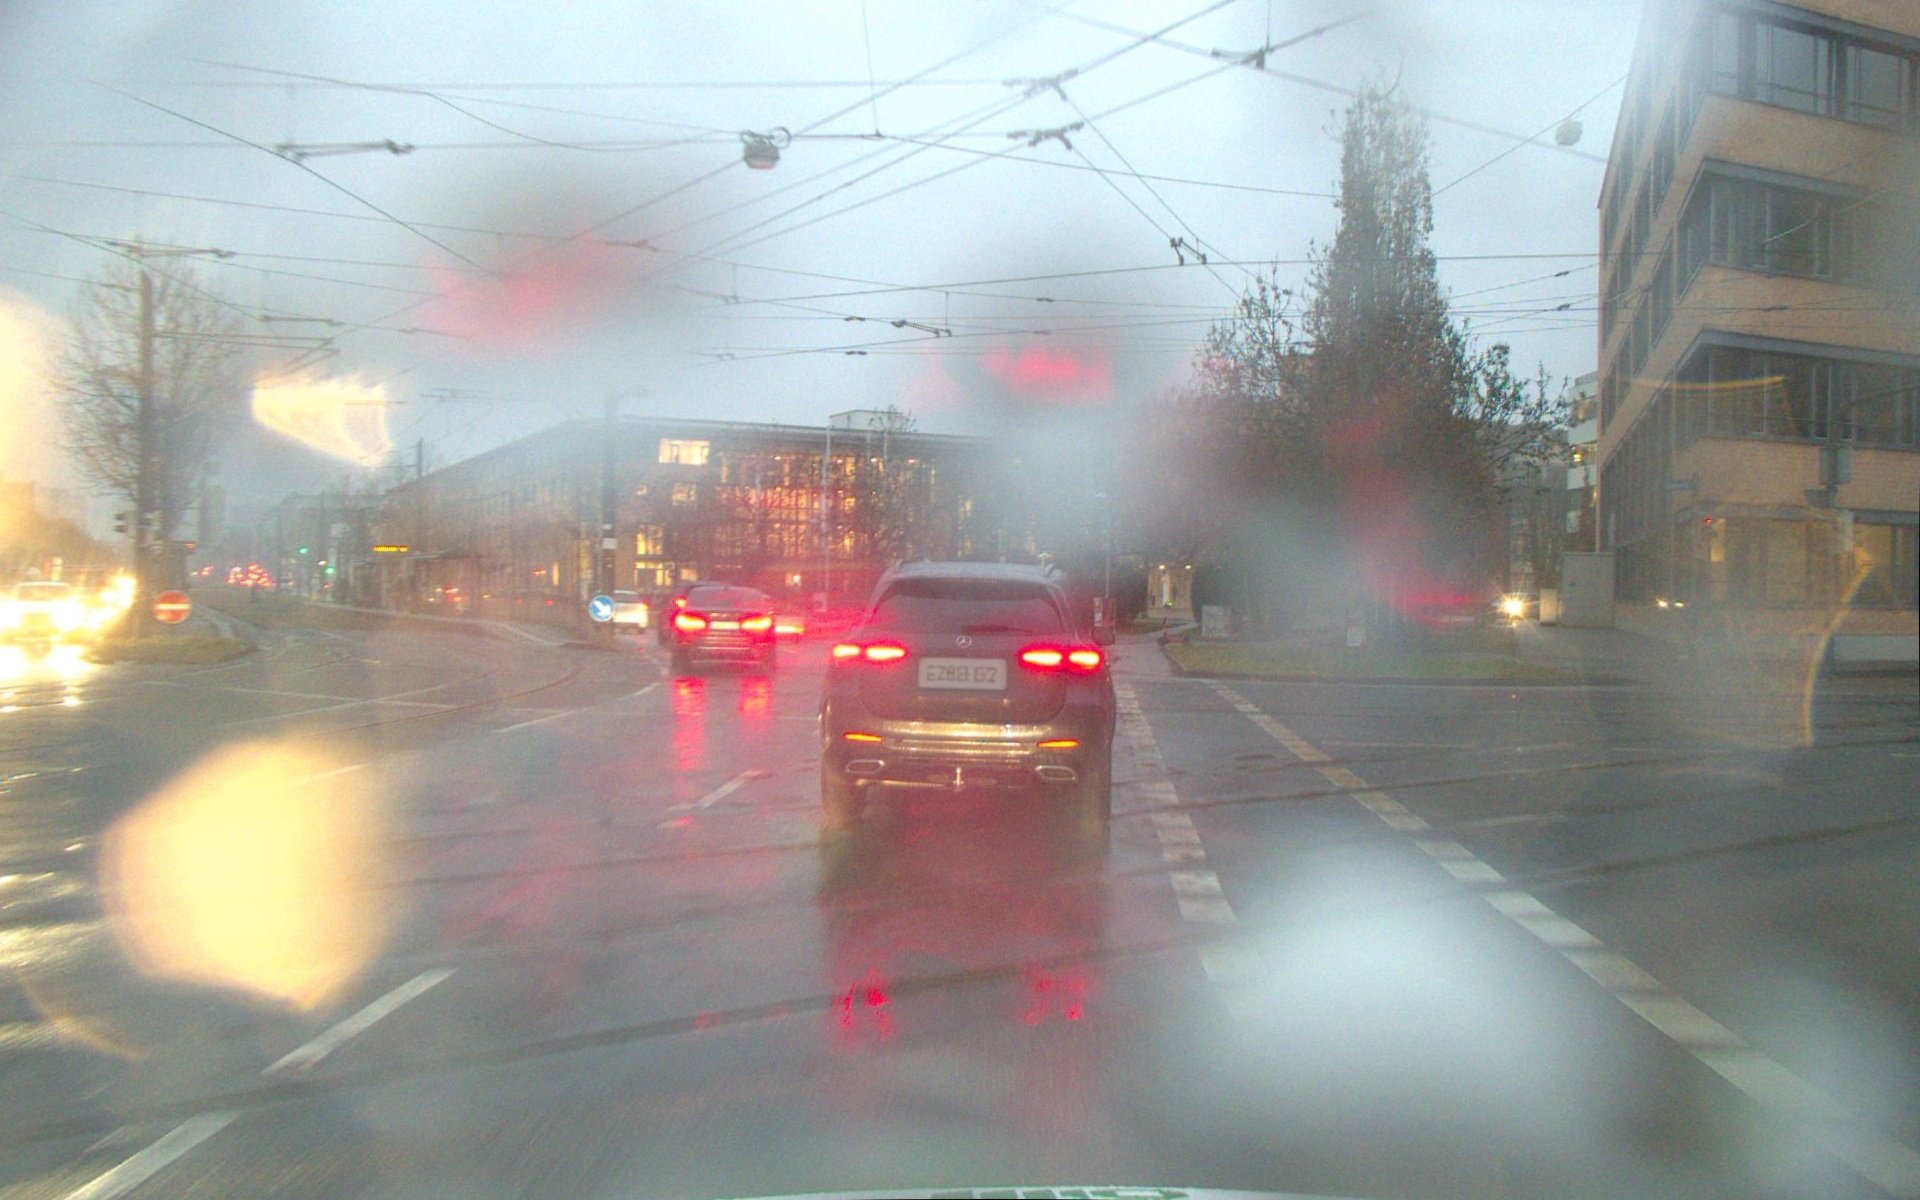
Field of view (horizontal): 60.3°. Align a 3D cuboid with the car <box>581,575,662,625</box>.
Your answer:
[{"bbox_3d":[-11.687,-0.032,56.907,1.967,1.646,3.971,0,1,-23],"label":"car"}]

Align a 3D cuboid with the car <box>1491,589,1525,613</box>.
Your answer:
[{"bbox_3d":[28.601,0.024,86.344,1.632,1.201,3.709,1,1,19],"label":"car"}]

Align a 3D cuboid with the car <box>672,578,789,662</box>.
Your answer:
[{"bbox_3d":[-4.121,0.313,30.036,1.955,1.422,3.994,0,1,-7],"label":"car"}]

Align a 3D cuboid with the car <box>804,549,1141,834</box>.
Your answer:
[{"bbox_3d":[0.099,0.502,11.581,1.950,1.644,4.001,0,1,1],"label":"car"}]

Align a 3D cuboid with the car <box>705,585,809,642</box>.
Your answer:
[{"bbox_3d":[-6.256,0.368,50.626,1.970,1.646,3.966,0,1,-27],"label":"car"}]

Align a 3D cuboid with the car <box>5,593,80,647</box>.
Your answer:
[{"bbox_3d":[-23.617,0.490,42.665,1.518,1.267,4.052,0,1,-27],"label":"car"}]

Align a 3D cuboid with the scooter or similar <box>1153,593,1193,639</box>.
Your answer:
[{"bbox_3d":[5.963,0.440,46.308,1.136,1.253,0.480,0,1,-43],"label":"scooter or similar"}]
